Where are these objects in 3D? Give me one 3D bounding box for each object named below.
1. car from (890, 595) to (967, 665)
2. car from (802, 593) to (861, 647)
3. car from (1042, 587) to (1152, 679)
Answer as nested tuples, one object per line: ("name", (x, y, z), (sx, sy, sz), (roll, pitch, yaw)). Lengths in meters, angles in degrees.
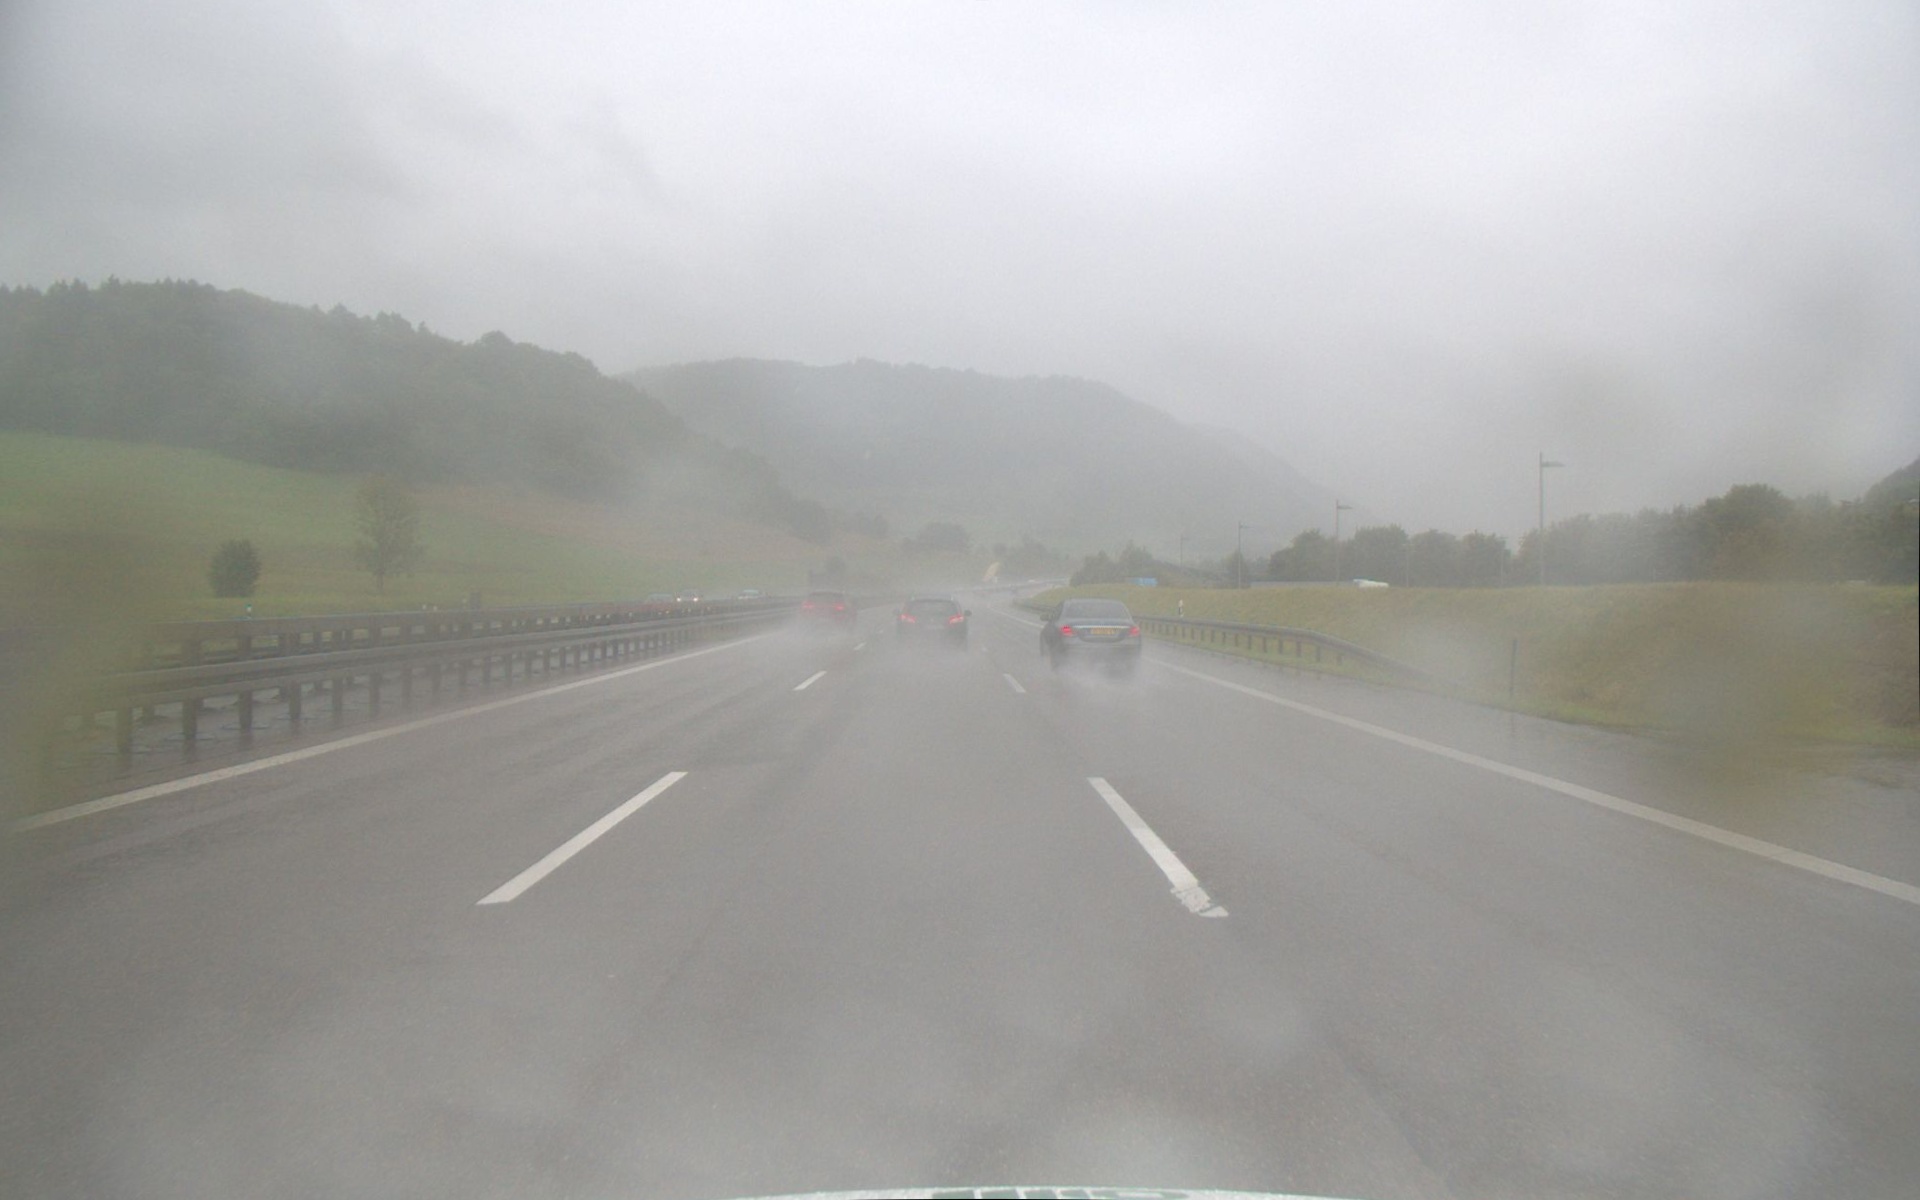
("car", (-0.756, 0.712, 41.314), (1.821, 1.617, 4.000), (1, 0, 0))
("car", (-4.529, 0.690, 58.838), (1.846, 1.847, 3.999), (0, 0, -1))
("car", (2.782, 0.638, 34.433), (1.931, 1.791, 4.000), (-1, 0, 0))
